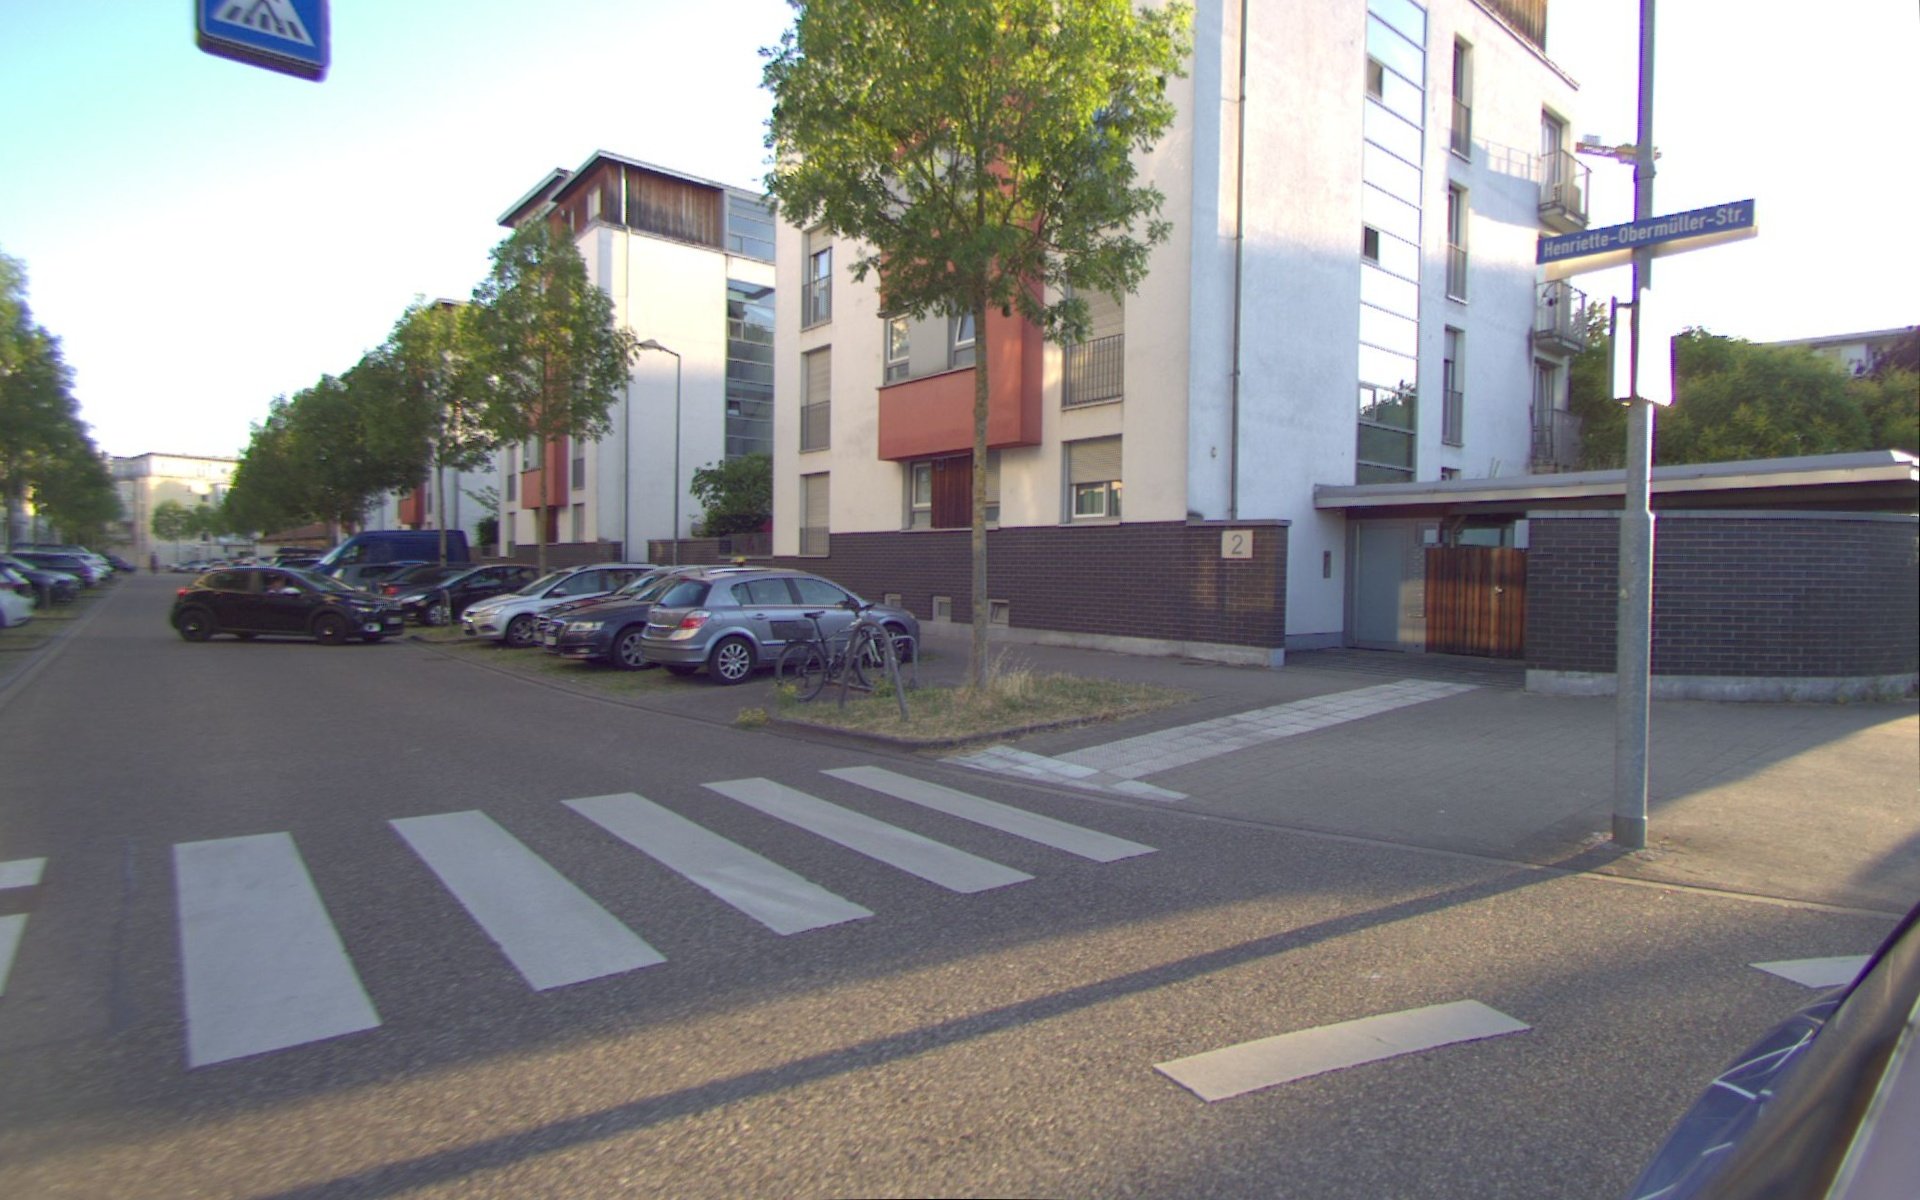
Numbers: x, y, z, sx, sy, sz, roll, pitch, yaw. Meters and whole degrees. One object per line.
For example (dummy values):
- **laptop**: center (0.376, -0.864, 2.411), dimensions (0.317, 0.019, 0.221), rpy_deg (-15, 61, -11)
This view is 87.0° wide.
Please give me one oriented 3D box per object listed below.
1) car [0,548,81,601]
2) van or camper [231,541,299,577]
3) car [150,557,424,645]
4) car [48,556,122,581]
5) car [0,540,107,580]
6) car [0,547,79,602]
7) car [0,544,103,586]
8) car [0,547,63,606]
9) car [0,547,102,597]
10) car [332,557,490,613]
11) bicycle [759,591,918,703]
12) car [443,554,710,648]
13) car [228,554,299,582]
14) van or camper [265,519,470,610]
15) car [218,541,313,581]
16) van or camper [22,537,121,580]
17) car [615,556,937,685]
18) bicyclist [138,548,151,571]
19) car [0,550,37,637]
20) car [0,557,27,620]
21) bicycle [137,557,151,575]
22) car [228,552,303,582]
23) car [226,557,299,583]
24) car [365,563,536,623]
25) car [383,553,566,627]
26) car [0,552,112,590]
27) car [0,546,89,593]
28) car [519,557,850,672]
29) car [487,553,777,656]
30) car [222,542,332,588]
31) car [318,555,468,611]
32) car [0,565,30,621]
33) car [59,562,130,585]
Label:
- **car**: center (-29.657, -0.819, 30.875), dimensions (4.182, 1.528, 1.748), rpy_deg (3, 0, -43)
- **van or camper**: center (-54.119, -3.175, 78.853), dimensions (4.176, 2.567, 1.759), rpy_deg (3, -1, -38)
- **car**: center (-13.071, 0.017, 19.870), dimensions (4.095, 1.481, 1.780), rpy_deg (2, 0, -4)
- **car**: center (-67.560, -2.399, 78.189), dimensions (4.176, 1.659, 1.692), rpy_deg (3, 0, -38)
- **car**: center (-46.764, -2.030, 52.158), dimensions (4.176, 1.801, 1.691), rpy_deg (3, 0, -38)
- **car**: center (-28.157, -0.784, 29.092), dimensions (4.182, 1.528, 1.748), rpy_deg (3, 0, -43)
- **car**: center (-37.466, -1.427, 40.925), dimensions (4.176, 1.556, 1.692), rpy_deg (3, 0, -38)
- **car**: center (-26.370, -0.678, 26.661), dimensions (4.035, 1.528, 1.662), rpy_deg (3, 0, -43)
- **car**: center (-31.257, -0.942, 33.540), dimensions (4.182, 1.528, 1.748), rpy_deg (3, 0, -43)
- **car**: center (-17.086, -0.525, 31.611), dimensions (4.036, 1.645, 1.720), rpy_deg (-2, 3, -43)
- **bicycle**: center (-1.376, 0.499, 11.698), dimensions (1.792, 1.079, 0.566), rpy_deg (-5, 4, -42)
- **car**: center (-7.568, -0.070, 20.317), dimensions (4.684, 1.604, 1.755), rpy_deg (-4, 4, -43)
- **car**: center (-51.175, -2.338, 74.362), dimensions (4.176, 1.809, 1.691), rpy_deg (3, 0, -38)
- **van or camper**: center (-21.995, -1.338, 37.792), dimensions (6.213, 3.125, 2.437), rpy_deg (-2, 3, -43)
- **car**: center (-38.698, -2.157, 56.453), dimensions (4.178, 1.955, 1.690), rpy_deg (3, 0, -40)
- **van or camper**: center (-51.317, -2.362, 58.574), dimensions (4.177, 2.239, 1.691), rpy_deg (3, -1, -40)
- **car**: center (-2.487, 0.168, 14.369), dimensions (4.221, 1.475, 1.678), rpy_deg (-4, 4, -41)
- **bicyclist**: center (-58.878, -2.926, 73.060), dimensions (0.754, 1.648, 0.662), rpy_deg (-1, 1, -40)
- **car**: center (-18.699, -0.193, 17.311), dimensions (4.222, 1.527, 1.682), rpy_deg (3, 0, -43)
- **car**: center (-22.397, -0.320, 21.408), dimensions (3.854, 1.361, 1.720), rpy_deg (3, 0, -43)
- **bicycle**: center (-58.831, -2.412, 72.992), dimensions (0.758, 1.283, 1.779), rpy_deg (-1, 2, -40)
- **car**: center (-48.312, -2.269, 70.431), dimensions (4.176, 1.809, 1.691), rpy_deg (3, 0, -38)
- **car**: center (-49.798, -2.112, 72.255), dimensions (4.176, 1.659, 1.692), rpy_deg (3, 0, -38)
- **car**: center (-13.933, -0.252, 27.787), dimensions (3.856, 1.534, 1.720), rpy_deg (-2, 3, -43)
- **car**: center (-12.218, -0.317, 25.599), dimensions (3.856, 1.731, 1.720), rpy_deg (-2, 3, -43)
- **car**: center (-41.655, -1.311, 46.370), dimensions (4.176, 1.556, 1.692), rpy_deg (3, 0, -38)
- **car**: center (-34.240, -1.126, 36.464), dimensions (4.176, 1.556, 1.692), rpy_deg (3, 0, -38)
- **car**: center (-4.241, 0.110, 16.158), dimensions (4.835, 1.496, 1.708), rpy_deg (-4, 3, -41)
- **car**: center (-5.882, -0.014, 18.450), dimensions (4.700, 1.574, 1.711), rpy_deg (-3, 3, -35)
- **car**: center (-32.886, -1.639, 48.781), dimensions (4.178, 1.955, 1.690), rpy_deg (3, 0, -40)
- **car**: center (-18.803, -0.549, 33.664), dimensions (4.035, 1.646, 1.720), rpy_deg (3, 0, -43)
- **car**: center (-25.259, -0.248, 24.462), dimensions (4.035, 1.379, 1.662), rpy_deg (3, 0, -43)
- **car**: center (-69.304, -2.135, 81.097), dimensions (4.176, 1.636, 1.692), rpy_deg (3, 0, -38)
